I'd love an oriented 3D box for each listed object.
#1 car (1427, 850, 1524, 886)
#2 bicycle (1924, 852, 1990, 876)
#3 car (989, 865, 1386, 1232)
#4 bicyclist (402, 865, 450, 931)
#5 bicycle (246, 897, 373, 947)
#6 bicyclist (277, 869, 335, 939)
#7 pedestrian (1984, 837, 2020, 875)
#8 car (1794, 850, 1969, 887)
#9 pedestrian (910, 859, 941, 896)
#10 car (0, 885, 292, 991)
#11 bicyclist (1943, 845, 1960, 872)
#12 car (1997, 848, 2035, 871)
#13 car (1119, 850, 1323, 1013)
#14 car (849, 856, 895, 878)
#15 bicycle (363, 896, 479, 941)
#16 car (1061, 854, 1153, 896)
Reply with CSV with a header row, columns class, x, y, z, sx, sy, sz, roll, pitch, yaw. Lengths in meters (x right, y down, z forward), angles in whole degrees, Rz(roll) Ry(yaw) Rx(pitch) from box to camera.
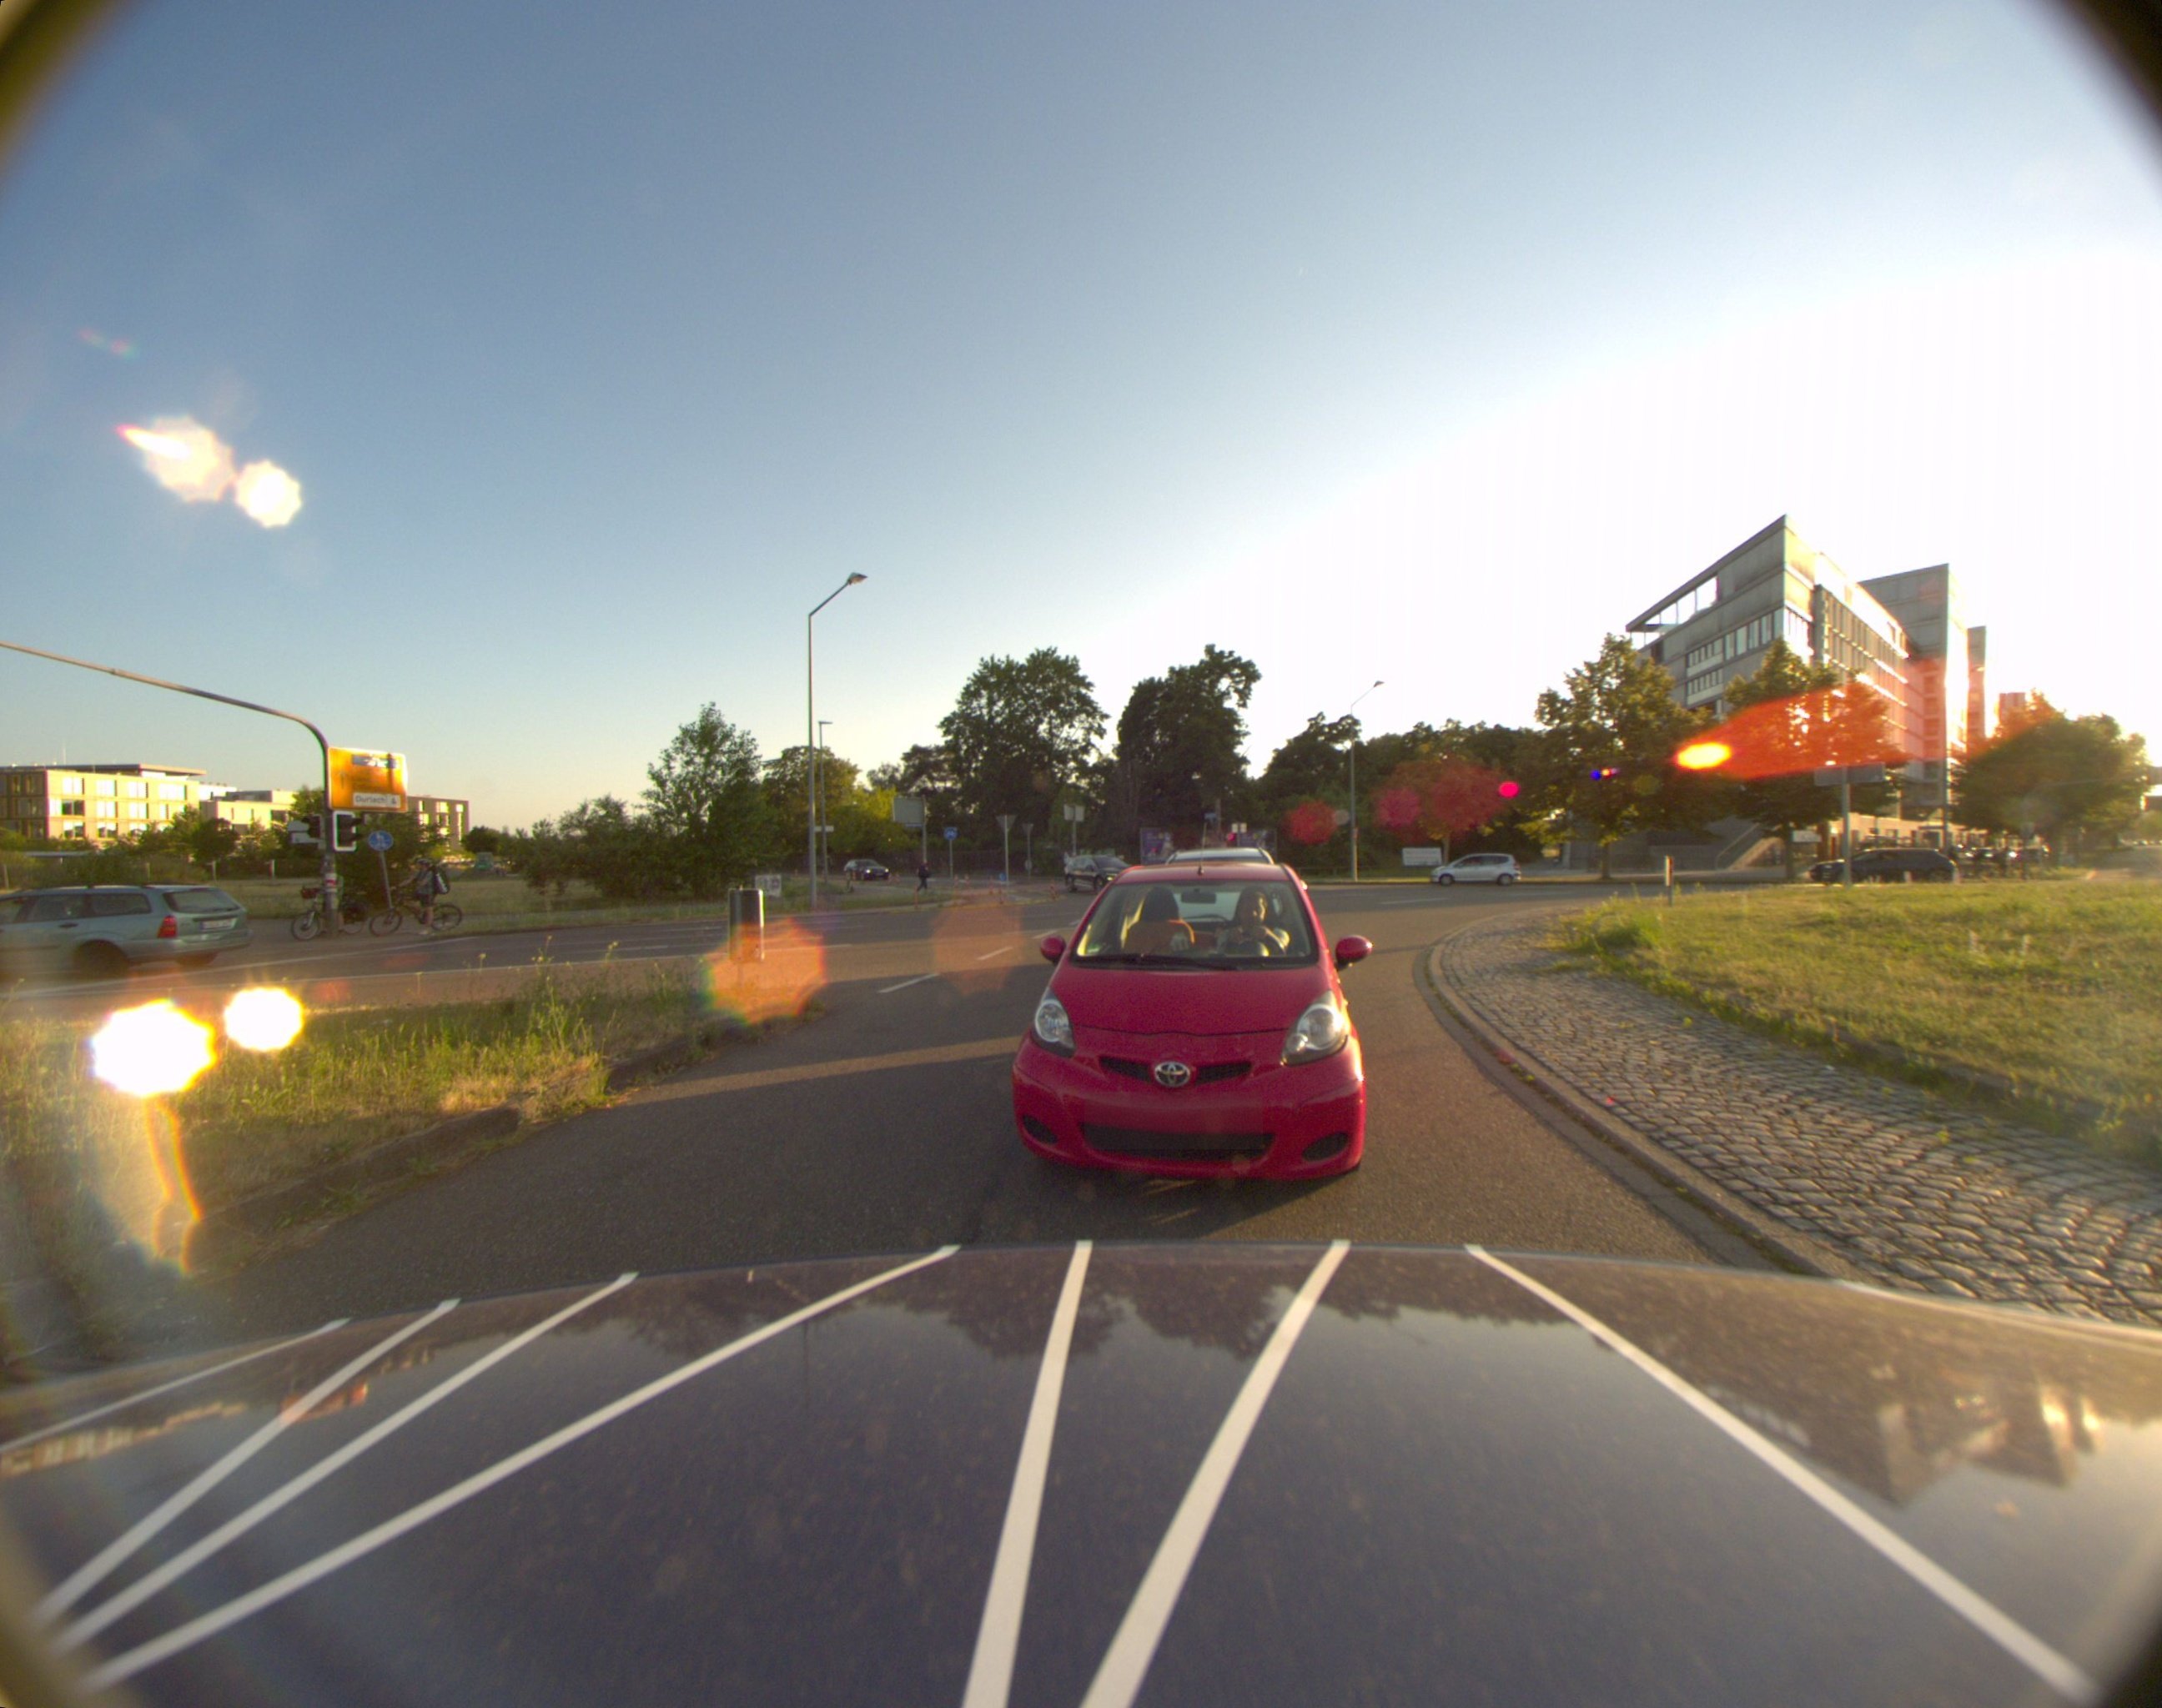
class,x,y,z,sx,sy,sz,roll,pitch,yaw
car,18.440,0.649,35.713,3.883,1.571,1.957,-1,1,22
bicycle,47.391,0.545,41.133,0.744,1.237,2.341,-2,1,-40
car,0.843,0.845,5.251,1.687,1.412,4.003,-1,1,12
bicyclist,-17.008,1.125,19.732,0.723,1.680,0.690,-1,1,28
bicycle,-19.141,1.659,18.929,0.708,0.958,2.109,-1,2,15
bicyclist,-19.200,1.219,18.842,0.724,1.680,0.690,-1,1,13
pedestrian,49.669,0.113,40.985,0.776,2.002,0.998,-2,1,-11
car,31.642,0.580,30.238,4.373,1.368,2.003,-1,1,27
pedestrian,-6.750,1.009,32.986,0.994,1.581,0.924,-2,1,-36
car,-16.578,1.360,12.677,4.312,1.483,1.998,-1,1,-11
bicyclist,47.279,0.225,41.275,0.693,1.432,0.610,-2,1,-42
car,87.839,0.497,71.385,4.007,2.002,1.995,-1,1,-36
car,1.644,0.777,9.719,1.997,1.597,4.200,-1,0,7
car,-15.144,0.931,54.981,2.003,1.477,3.990,-2,1,-34
bicycle,-17.024,1.639,19.673,0.708,0.957,2.149,-1,1,27
car,1.008,0.824,32.154,2.003,1.588,4.304,-1,1,-27
